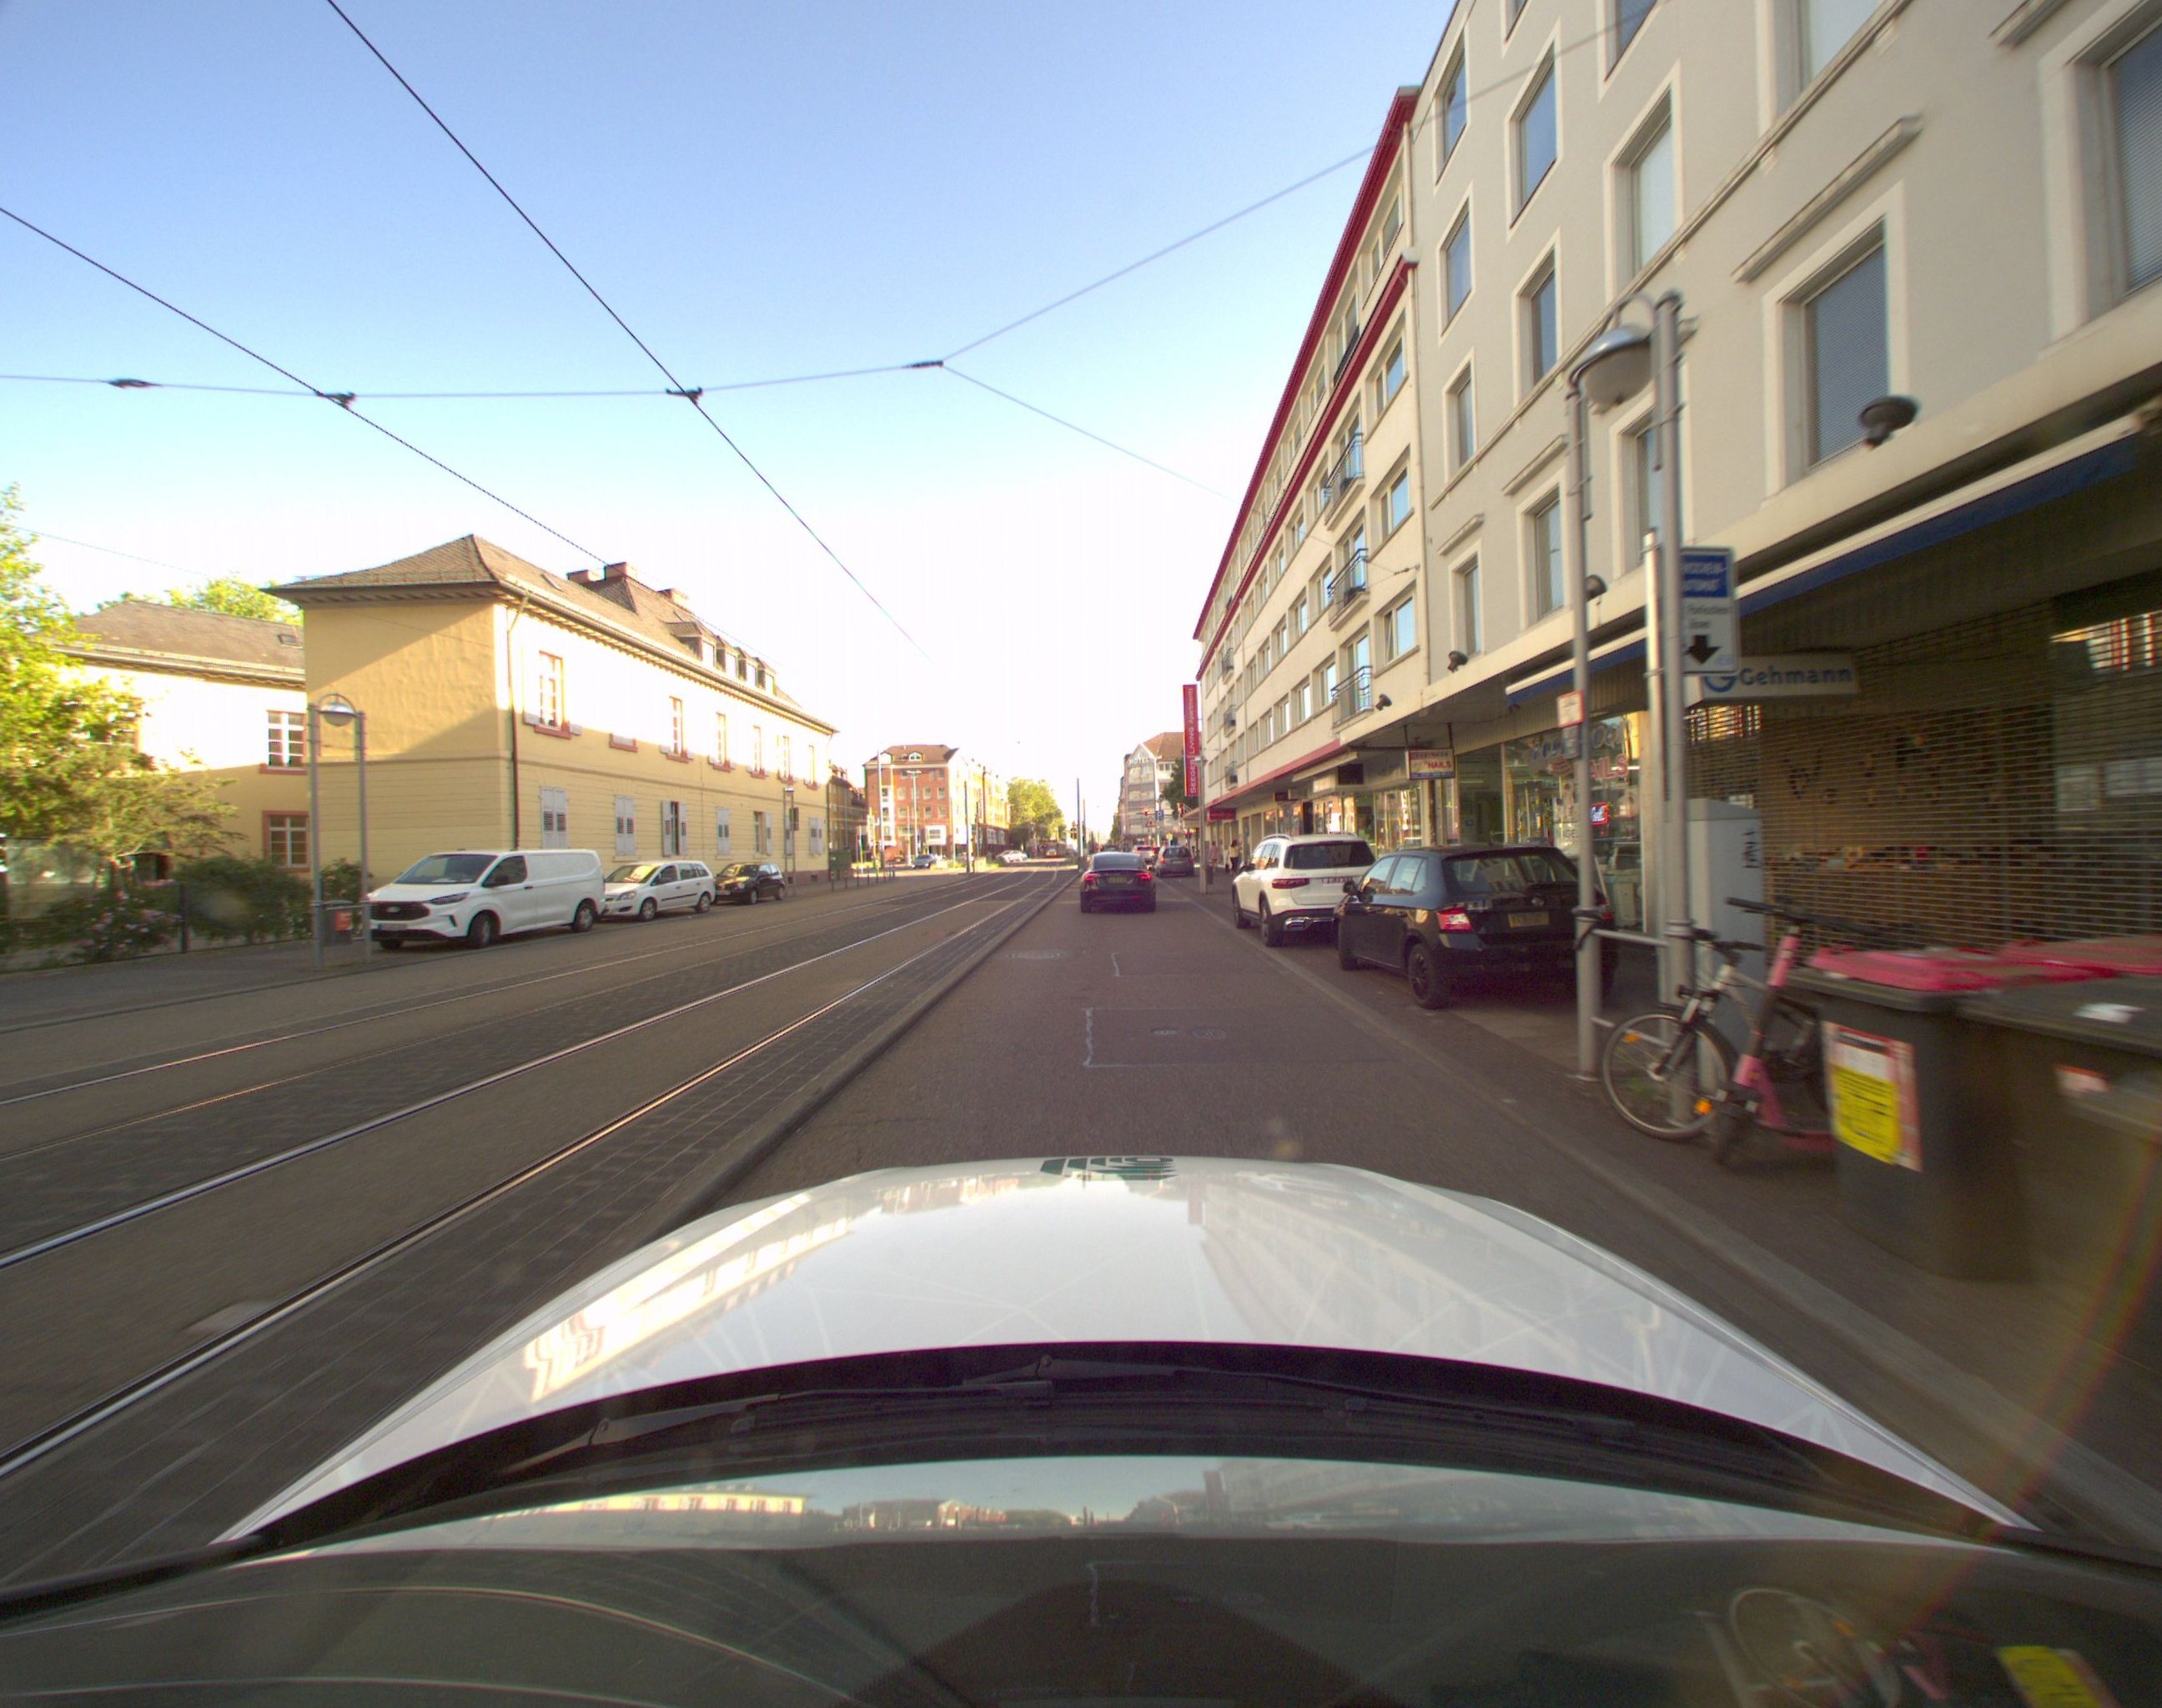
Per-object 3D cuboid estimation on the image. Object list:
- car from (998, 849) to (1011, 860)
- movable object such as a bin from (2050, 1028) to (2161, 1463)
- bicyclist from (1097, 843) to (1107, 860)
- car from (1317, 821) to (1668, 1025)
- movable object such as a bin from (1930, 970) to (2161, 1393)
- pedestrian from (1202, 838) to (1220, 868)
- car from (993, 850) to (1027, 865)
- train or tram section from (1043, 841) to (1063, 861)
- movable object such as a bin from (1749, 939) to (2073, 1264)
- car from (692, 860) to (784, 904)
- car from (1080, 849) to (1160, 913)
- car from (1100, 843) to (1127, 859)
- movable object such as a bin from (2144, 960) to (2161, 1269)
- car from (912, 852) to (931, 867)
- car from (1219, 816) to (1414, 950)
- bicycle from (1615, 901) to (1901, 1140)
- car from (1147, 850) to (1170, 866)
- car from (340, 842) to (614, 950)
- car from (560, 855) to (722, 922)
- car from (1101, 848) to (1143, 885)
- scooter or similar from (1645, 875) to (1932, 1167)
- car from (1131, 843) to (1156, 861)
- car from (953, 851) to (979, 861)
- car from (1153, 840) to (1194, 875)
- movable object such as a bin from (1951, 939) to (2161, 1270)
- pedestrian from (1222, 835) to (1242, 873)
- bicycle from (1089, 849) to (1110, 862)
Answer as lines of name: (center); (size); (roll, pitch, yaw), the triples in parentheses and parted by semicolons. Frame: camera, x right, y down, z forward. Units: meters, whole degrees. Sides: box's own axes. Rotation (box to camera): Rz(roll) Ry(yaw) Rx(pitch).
car: (-14.352, 0.164, 152.738); (1.986, 2.013, 4.002); (0, 0, 2)
movable object such as a bin: (2.715, 0.919, 1.828); (0.485, 0.958, 0.458); (-3, 0, 5)
bicyclist: (1.805, -0.237, 70.274); (0.835, 1.500, 0.559); (0, 0, -6)
car: (3.819, 0.534, 8.425); (1.608, 1.528, 4.072); (-3, 0, 1)
movable object such as a bin: (3.102, 0.895, 2.373); (0.683, 1.014, 0.509); (-2, 0, 4)
pedestrian: (7.299, -0.041, 45.724); (0.810, 1.683, 0.719); (0, 0, 25)
car: (-9.338, 0.472, 107.069); (4.017, 1.739, 1.978); (-2, 0, -35)
train or tram section: (-5.381, -0.610, 158.409); (2.663, 3.715, 14.202); (0, 0, 3)
movable object such as a bin: (3.074, 0.873, 3.085); (0.520, 1.014, 0.672); (-2, 0, 4)
car: (-12.076, 0.948, 28.905); (1.608, 1.400, 3.721); (0, 0, 1)
car: (0.949, 0.620, 20.814); (1.842, 1.484, 3.788); (0, 0, 1)
car: (3.204, -0.325, 80.468); (1.825, 1.519, 4.203); (0, 0, -11)
movable object such as a bin: (3.833, 0.845, 2.350); (0.655, 1.014, 0.637); (-2, 0, 4)
car: (-16.907, 0.608, 86.452); (1.881, 1.495, 4.912); (-2, 0, -10)
car: (3.667, 0.393, 13.757); (1.843, 1.724, 5.194); (-3, 0, 2)
bicycle: (3.410, 0.821, 4.134); (1.127, 1.079, 0.320); (-4, 0, 0)
car: (7.700, 0.365, 81.127); (1.820, 1.519, 3.645); (0, 0, -3)
car: (-12.561, 0.765, 17.520); (1.986, 1.975, 5.098); (0, 0, 1)
car: (-12.345, 0.886, 23.268); (1.799, 1.685, 4.654); (0, 0, 4)
car: (1.714, 0.483, 34.168); (1.647, 1.418, 4.003); (0, 1, 3)
scooter or similar: (3.260, 0.747, 3.787); (0.989, 1.231, 0.320); (-4, 0, 0)
car: (5.344, -0.171, 69.712); (1.778, 1.519, 4.216); (0, 0, -1)
car: (-17.697, 0.286, 125.432); (3.950, 1.470, 2.012); (0, 0, 44)
car: (4.695, 0.168, 41.713); (1.738, 1.632, 3.651); (-3, 1, 2)
movable object such as a bin: (3.908, 0.867, 3.016); (0.655, 1.014, 0.637); (-2, 0, 4)
pedestrian: (7.179, 0.009, 38.658); (0.797, 1.774, 0.936); (-2, 0, 16)
bicycle: (1.562, 0.134, 70.236); (1.726, 1.088, 0.677); (0, 0, -6)
